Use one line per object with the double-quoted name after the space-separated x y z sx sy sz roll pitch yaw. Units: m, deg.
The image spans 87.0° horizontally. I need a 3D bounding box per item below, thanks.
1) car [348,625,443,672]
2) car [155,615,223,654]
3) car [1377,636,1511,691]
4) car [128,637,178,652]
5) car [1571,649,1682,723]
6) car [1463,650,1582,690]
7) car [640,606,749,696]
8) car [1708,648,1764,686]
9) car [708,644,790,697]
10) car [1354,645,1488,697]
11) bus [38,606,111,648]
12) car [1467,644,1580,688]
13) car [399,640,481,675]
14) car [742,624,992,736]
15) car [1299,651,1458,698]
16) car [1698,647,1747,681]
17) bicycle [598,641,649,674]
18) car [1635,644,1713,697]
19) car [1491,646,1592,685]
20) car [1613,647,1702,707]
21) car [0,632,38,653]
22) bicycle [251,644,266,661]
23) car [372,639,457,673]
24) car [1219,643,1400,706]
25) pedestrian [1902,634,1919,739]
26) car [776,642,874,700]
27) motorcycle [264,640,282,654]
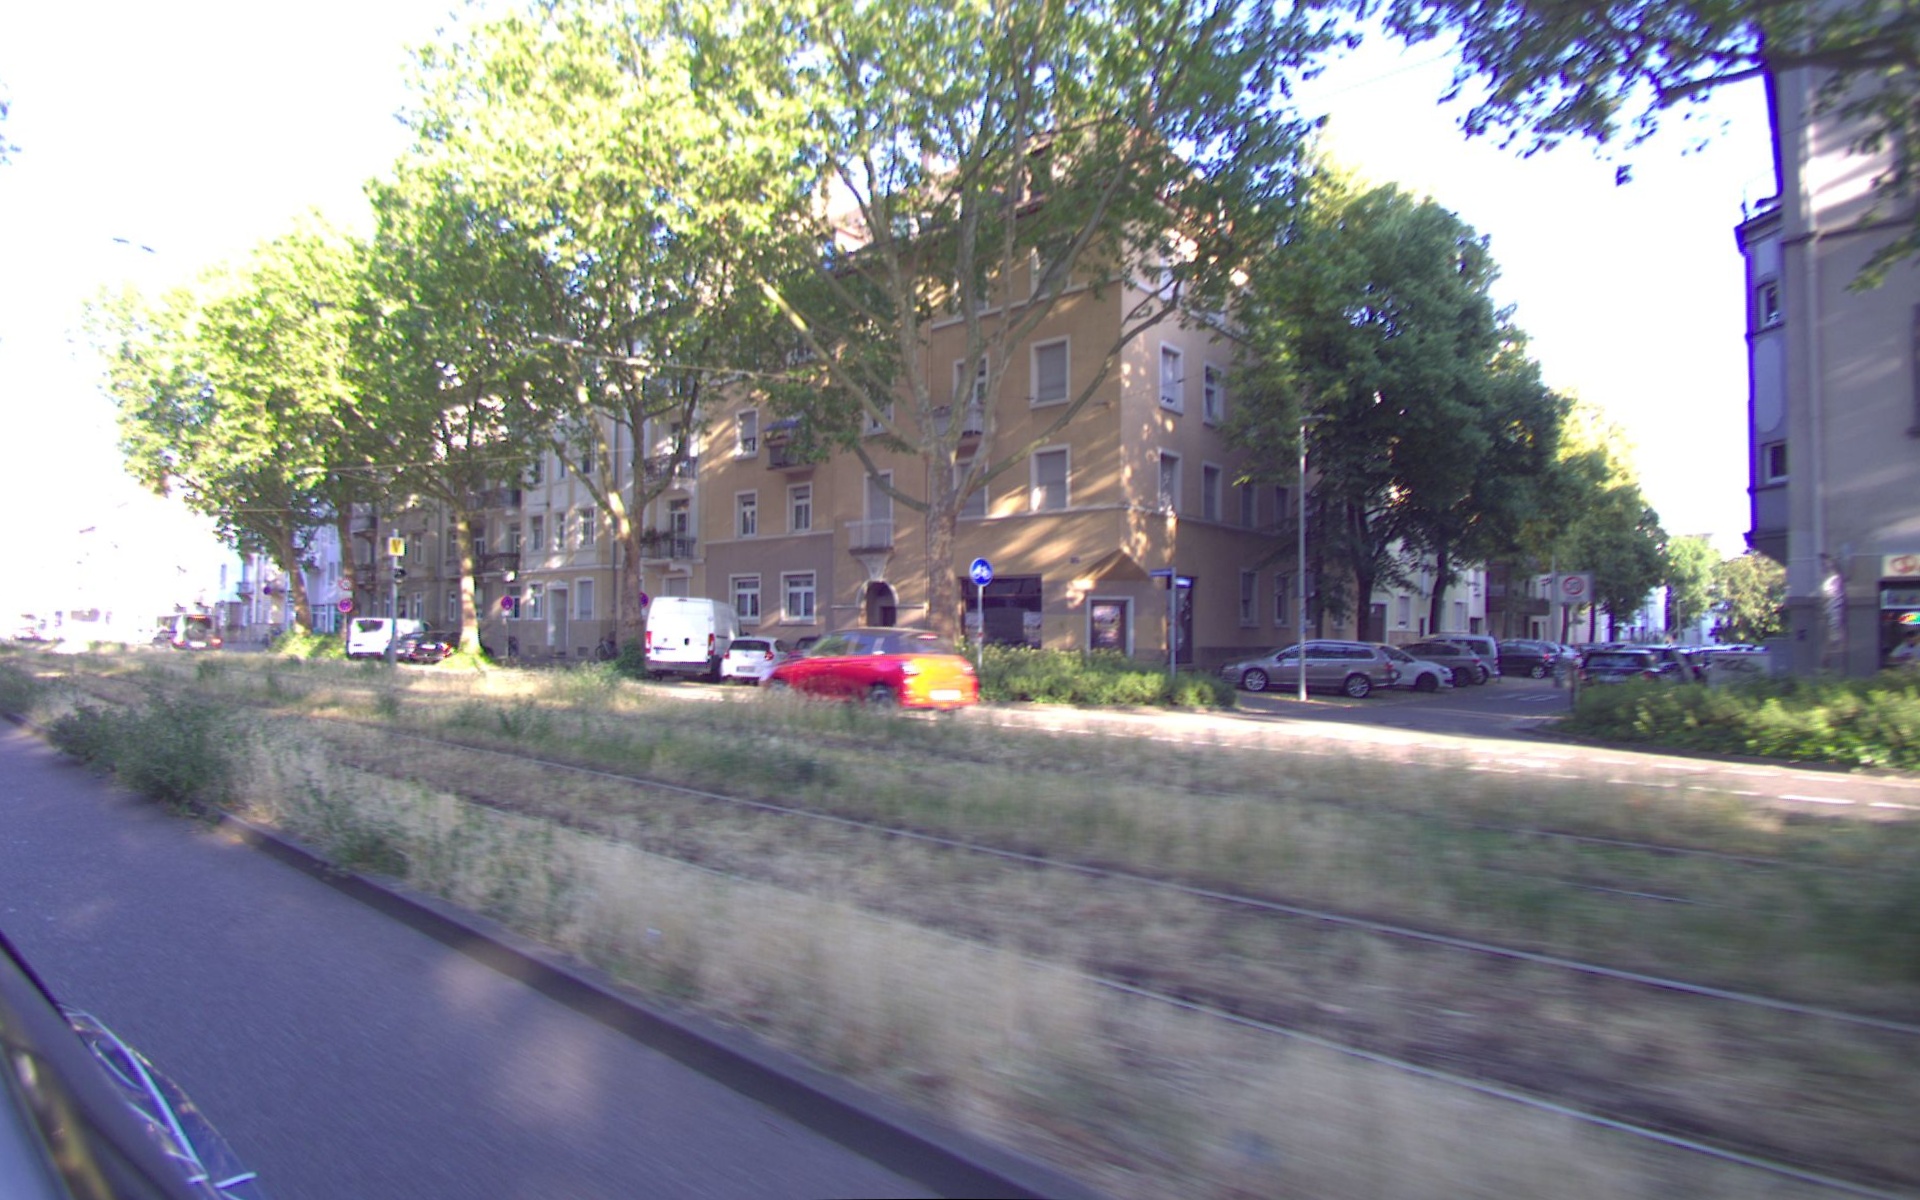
-26.790 2.284 48.255 1.697 2.082 5.248 0 -2 -2 "car"
-35.964 1.572 47.157 4.778 1.706 1.848 -1 -2 45 "car"
18.189 2.371 38.278 4.385 1.946 1.783 0 -3 21 "car"
-87.882 4.834 110.179 4.067 1.586 1.717 3 -3 -44 "car"
15.435 1.902 23.357 1.812 1.519 3.948 -1 -3 38 "car"
25.126 3.097 45.352 4.385 1.695 1.783 0 -3 21 "car"
-8.154 1.560 31.653 2.095 2.548 5.510 0 -2 -2 "car"
33.139 2.807 43.212 1.812 1.519 3.948 -1 -3 38 "car"
-6.116 2.014 29.681 1.711 1.410 3.711 0 -2 -2 "car"
16.316 2.498 36.046 4.205 1.723 1.747 0 -3 21 "car"
-76.141 2.270 86.917 11.974 3.400 3.220 0 -2 42 "bus"
26.467 3.070 47.724 4.385 1.946 1.783 0 -3 21 "car"
-22.323 2.434 43.587 1.697 1.433 3.729 0 -2 -2 "car"
-1.581 1.204 16.409 3.998 1.586 1.771 -1 -3 41 "car"
13.166 2.327 32.092 4.370 1.346 1.790 0 -3 11 "car"
36.700 3.049 48.665 1.812 1.519 3.948 -1 -3 38 "car"
-14.960 2.530 44.958 2.959 1.402 0.734 -2 -3 41 "bicycle"
22.379 2.153 31.658 1.812 1.519 3.948 -1 -3 38 "car"
29.352 3.297 51.212 4.165 1.835 1.783 0 -3 21 "car"
19.505 2.078 28.252 1.812 1.519 3.948 -1 -3 38 "car"
-73.482 3.292 78.935 4.696 1.497 1.698 -1 -5 40 "car"
-48.144 3.602 69.467 0.747 1.040 1.899 -5 2 -36 "bicycle"
-24.718 2.514 46.053 1.697 1.502 4.177 0 -2 -2 "car"
9.638 2.042 28.224 4.482 1.514 1.790 2 -2 11 "car"
16.600 1.480 17.295 0.620 1.773 0.673 3 -4 -44 "pedestrian"
-3.660 1.949 28.005 1.716 1.477 3.699 0 -4 9 "car"
-53.272 3.638 78.505 2.418 1.029 0.522 -2 0 40 "motorcycle"
